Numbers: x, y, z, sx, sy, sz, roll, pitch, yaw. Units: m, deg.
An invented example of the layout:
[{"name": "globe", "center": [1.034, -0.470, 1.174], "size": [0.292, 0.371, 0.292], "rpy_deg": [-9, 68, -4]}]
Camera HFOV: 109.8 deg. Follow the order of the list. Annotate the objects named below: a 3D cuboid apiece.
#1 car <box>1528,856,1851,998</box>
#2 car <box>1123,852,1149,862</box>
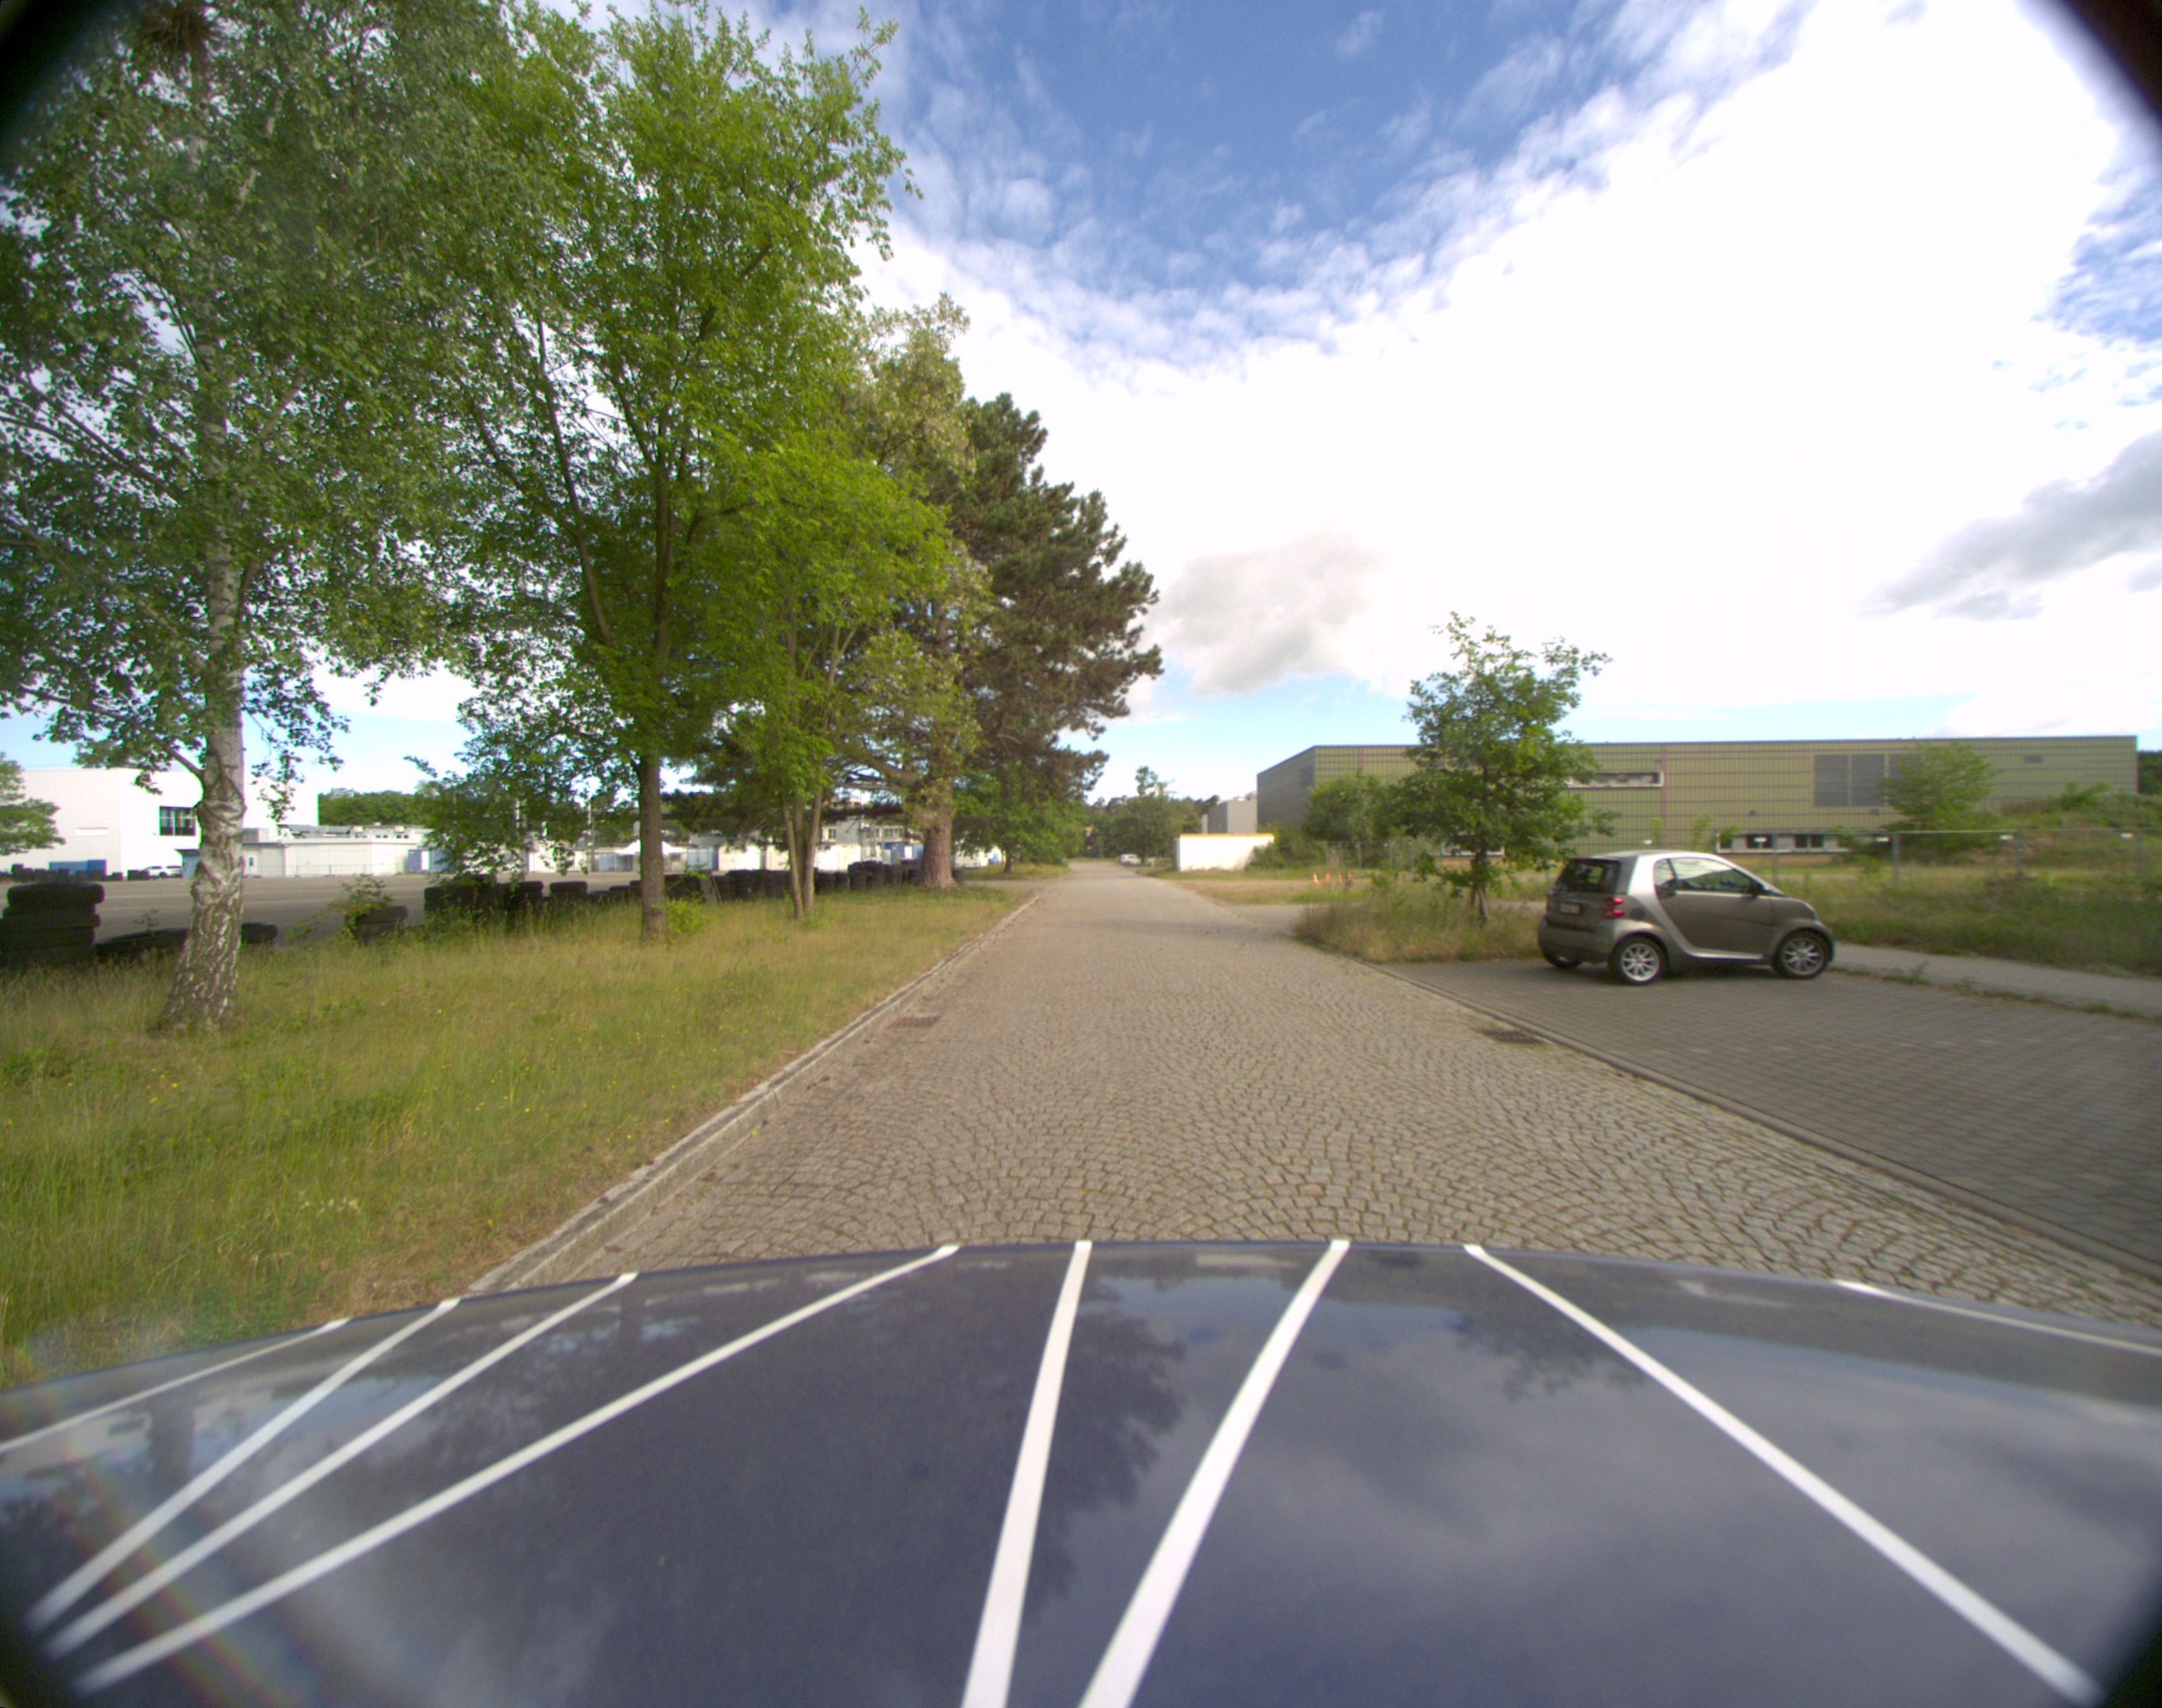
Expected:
[{"name": "car", "center": [7.333, 0.831, 9.367], "size": [2.661, 1.502, 1.610], "rpy_deg": [-2, 0, 0]}, {"name": "car", "center": [8.427, 0.456, 116.589], "size": [3.996, 1.604, 1.797], "rpy_deg": [0, 0, 4]}]
